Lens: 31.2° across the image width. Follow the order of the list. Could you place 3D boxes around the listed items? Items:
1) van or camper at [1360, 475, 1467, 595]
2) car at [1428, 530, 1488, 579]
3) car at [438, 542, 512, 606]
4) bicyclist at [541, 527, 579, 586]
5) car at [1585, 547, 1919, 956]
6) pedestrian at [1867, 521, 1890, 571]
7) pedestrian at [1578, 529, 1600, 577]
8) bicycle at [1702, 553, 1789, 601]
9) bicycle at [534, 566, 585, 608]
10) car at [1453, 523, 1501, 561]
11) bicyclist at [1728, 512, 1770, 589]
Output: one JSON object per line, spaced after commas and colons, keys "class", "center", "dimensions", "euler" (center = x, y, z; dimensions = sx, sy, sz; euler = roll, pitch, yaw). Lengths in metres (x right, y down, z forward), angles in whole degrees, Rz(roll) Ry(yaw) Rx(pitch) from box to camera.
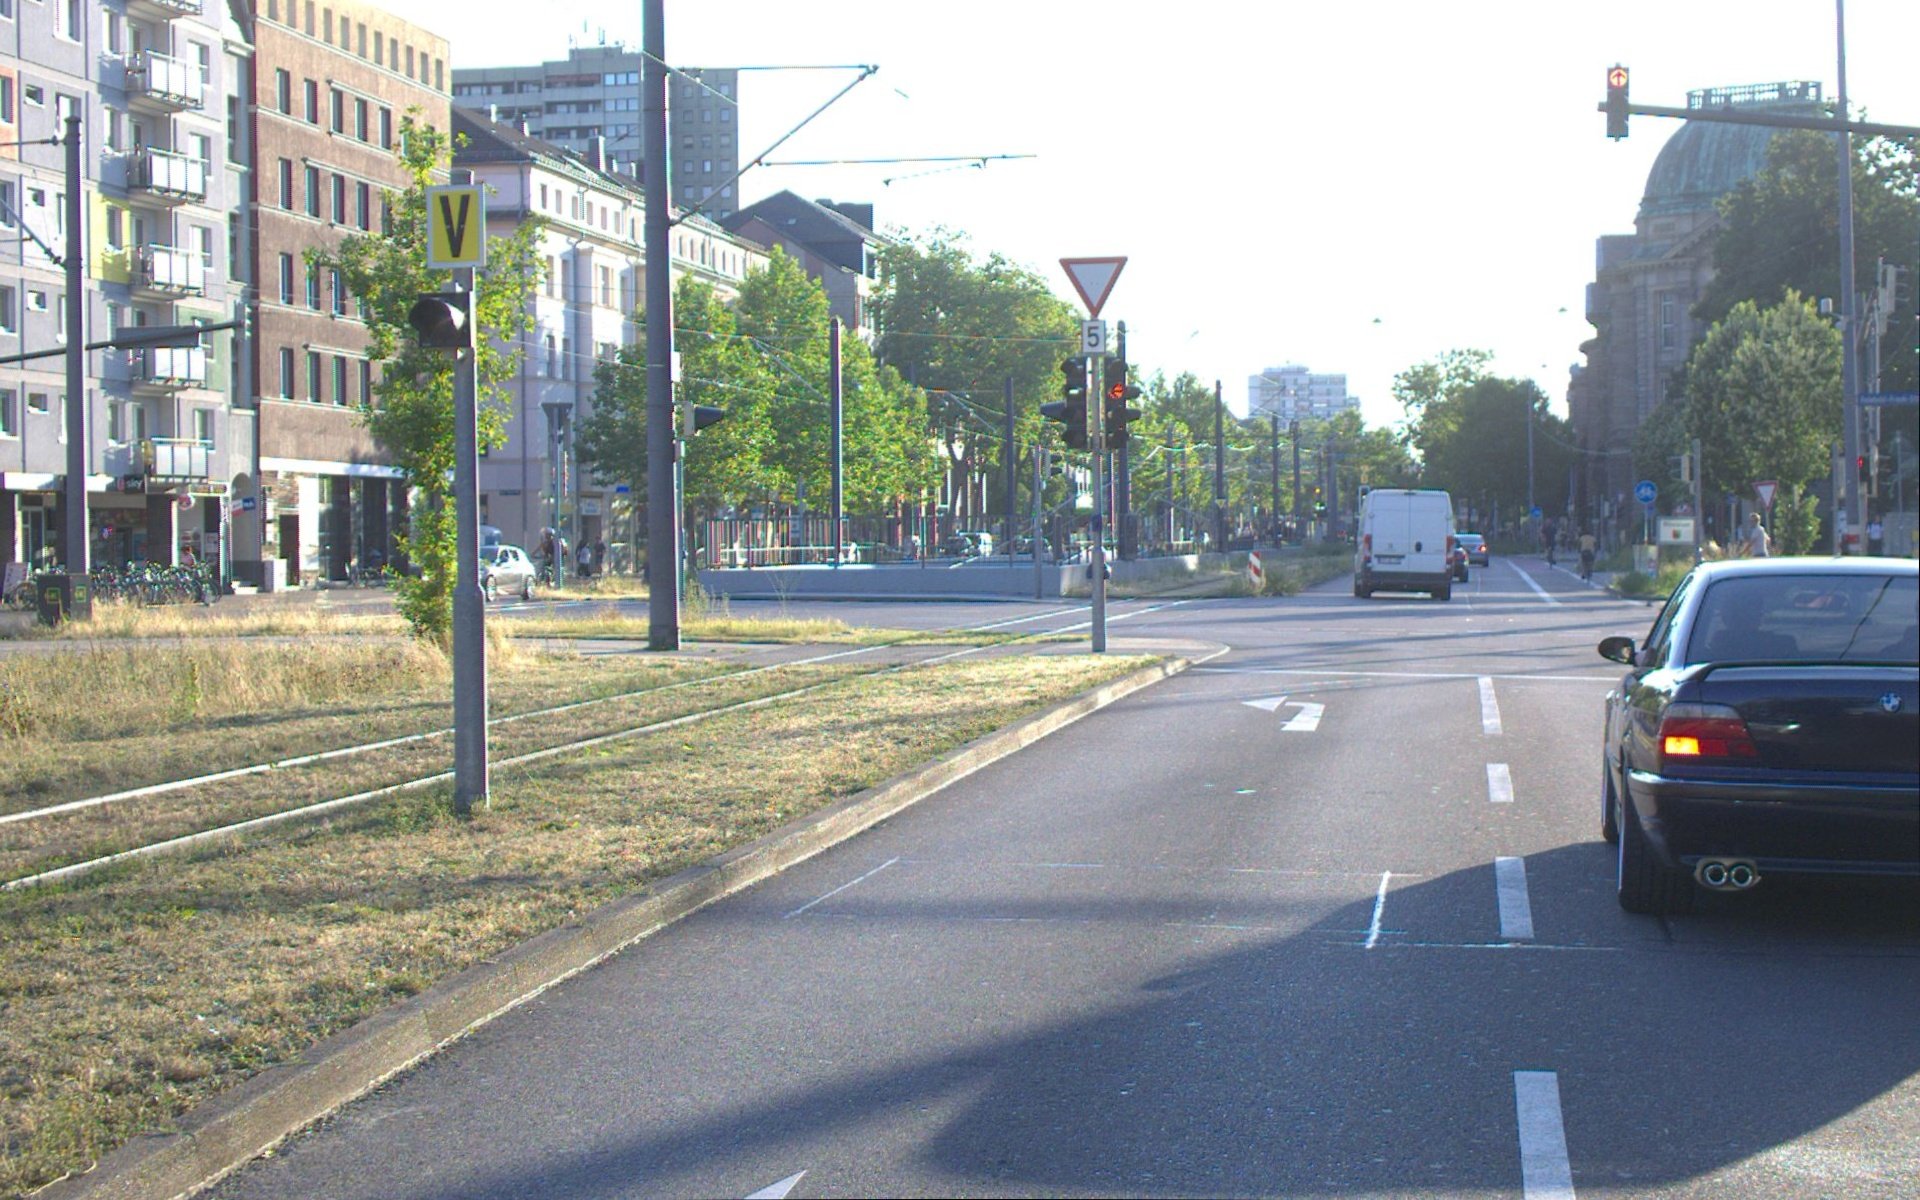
{"class": "van or camper", "center": [10.460, -1.527, 79.059], "dimensions": [2.264, 2.616, 4.501], "euler": [-1, 2, 10]}
{"class": "car", "center": [15.444, -1.433, 106.494], "dimensions": [1.738, 1.381, 3.999], "euler": [-1, 2, 10]}
{"class": "car", "center": [-12.071, -0.663, 85.455], "dimensions": [1.712, 1.429, 4.002], "euler": [0, 3, -10]}
{"class": "bicyclist", "center": [-9.939, -1.090, 85.419], "dimensions": [0.661, 1.437, 0.856], "euler": [2, 2, 13]}
{"class": "car", "center": [3.629, 0.504, 14.414], "dimensions": [1.830, 1.349, 4.640], "euler": [1, 2, 9]}
{"class": "pedestrian", "center": [30.277, -1.786, 113.346], "dimensions": [0.682, 1.605, 0.612], "euler": [-1, 2, 9]}
{"class": "pedestrian", "center": [19.505, -1.451, 106.528], "dimensions": [0.617, 1.470, 0.800], "euler": [-1, 2, 13]}
{"class": "bicycle", "center": [16.141, -0.478, 70.673], "dimensions": [1.729, 0.966, 0.609], "euler": [0, 2, 11]}
{"class": "bicycle", "center": [-9.945, -0.327, 85.463], "dimensions": [0.702, 0.966, 1.733], "euler": [3, 3, 13]}
{"class": "car", "center": [22.656, -2.555, 150.719], "dimensions": [1.794, 1.560, 4.000], "euler": [-1, 2, 5]}
{"class": "bicyclist", "center": [16.204, -1.017, 70.635], "dimensions": [0.798, 1.566, 0.663], "euler": [-1, 2, 11]}
